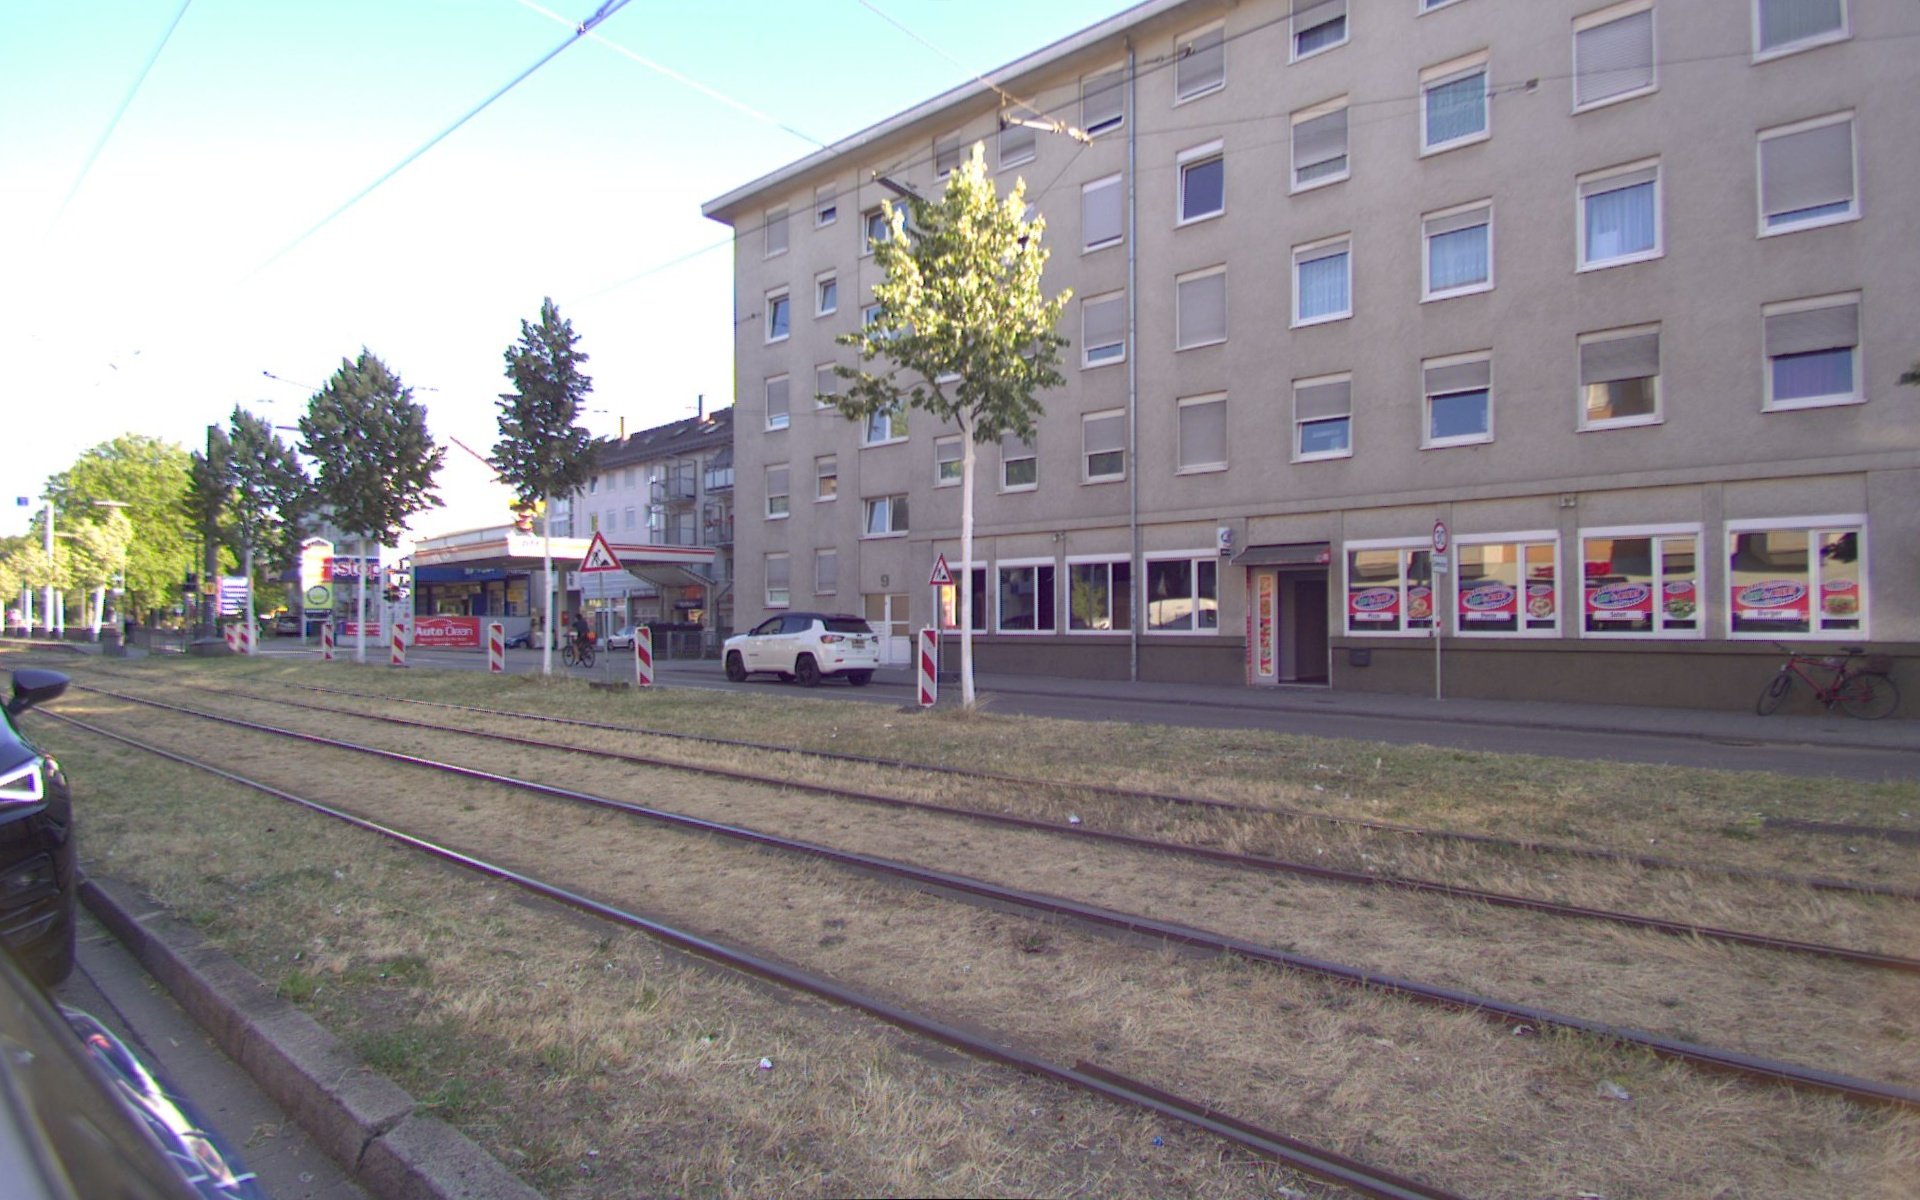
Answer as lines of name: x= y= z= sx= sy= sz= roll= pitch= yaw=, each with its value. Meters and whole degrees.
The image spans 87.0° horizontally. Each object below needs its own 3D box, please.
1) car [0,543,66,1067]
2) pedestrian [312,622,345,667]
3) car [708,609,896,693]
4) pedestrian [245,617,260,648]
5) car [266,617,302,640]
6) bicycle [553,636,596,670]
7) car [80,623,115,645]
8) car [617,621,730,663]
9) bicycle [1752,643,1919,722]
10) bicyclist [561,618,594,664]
car: x=-5.079 y=0.711 z=4.038 sx=3.998 sy=1.690 sz=1.752 roll=-1 pitch=0 yaw=41
pedestrian: x=-18.259 y=1.283 z=29.259 sx=0.581 sy=1.280 sz=0.655 roll=-2 pitch=-1 yaw=42
car: x=-3.722 y=1.155 z=23.411 sx=4.393 sy=1.748 sz=1.972 roll=-2 pitch=-4 yaw=43
pedestrian: x=-46.050 y=2.107 z=65.860 sx=0.583 sy=2.029 sz=0.623 roll=-2 pitch=-2 yaw=42
car: x=-49.985 y=2.074 z=74.806 sx=1.756 sy=1.567 sz=4.006 roll=-1 pitch=0 yaw=-40
bicycle: x=-12.401 y=1.694 z=32.552 sx=1.859 sy=1.052 sz=0.441 roll=-1 pitch=-2 yaw=40
car: x=-67.973 y=2.659 z=79.733 sx=3.828 sy=1.622 sz=1.701 roll=-1 pitch=0 yaw=43
car: x=-10.742 y=1.593 z=38.113 sx=1.906 sy=1.481 sz=3.680 roll=-4 pitch=-4 yaw=40
bicycle: x=12.757 y=1.179 z=14.777 sx=1.844 sy=1.031 sz=0.601 roll=-1 pitch=0 yaw=41
bicyclist: x=-12.276 y=1.317 z=32.471 sx=0.649 sy=1.457 sz=0.770 roll=-1 pitch=-2 yaw=40
